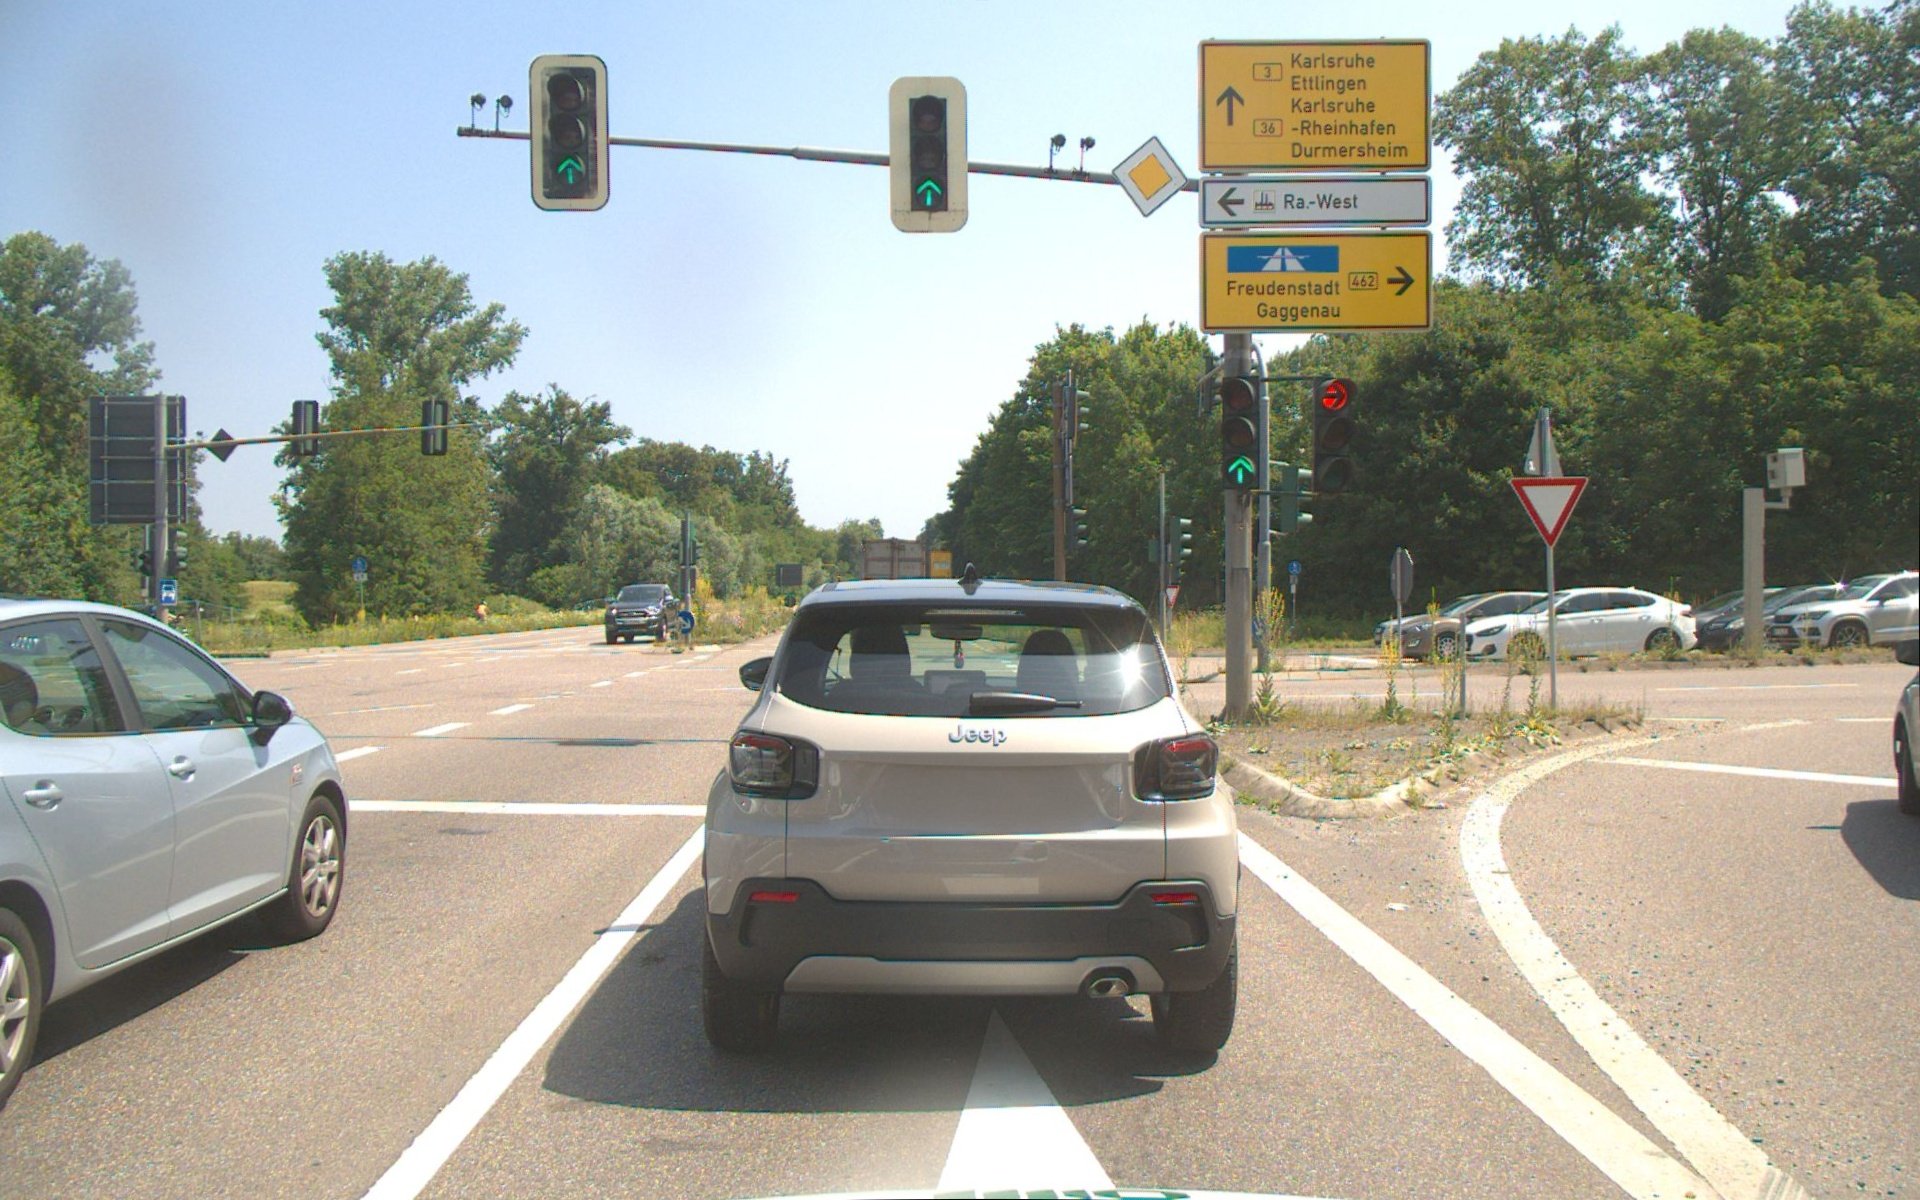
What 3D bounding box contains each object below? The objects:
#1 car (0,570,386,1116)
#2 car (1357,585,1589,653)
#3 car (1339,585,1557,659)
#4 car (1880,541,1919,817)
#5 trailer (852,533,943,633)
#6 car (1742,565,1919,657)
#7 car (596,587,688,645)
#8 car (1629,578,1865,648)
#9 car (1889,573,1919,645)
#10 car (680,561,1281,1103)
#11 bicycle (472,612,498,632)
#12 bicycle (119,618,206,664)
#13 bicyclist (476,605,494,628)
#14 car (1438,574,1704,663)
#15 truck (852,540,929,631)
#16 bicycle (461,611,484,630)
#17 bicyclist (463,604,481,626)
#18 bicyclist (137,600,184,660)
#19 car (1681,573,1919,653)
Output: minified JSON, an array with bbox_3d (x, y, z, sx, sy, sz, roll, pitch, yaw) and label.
[{"bbox_3d":[-3.375,0.627,5.487,1.632,1.455,3.827,1,0,-1],"label":"car"},{"bbox_3d":[12.038,0.442,39.009,4.831,1.525,2.020,-1,-1,-1],"label":"car"},{"bbox_3d":[10.380,0.455,35.367,4.011,1.472,1.994,-1,0,-4],"label":"car"},{"bbox_3d":[6.873,0.519,9.984,1.720,1.804,4.113,-1,0,21],"label":"car"},{"bbox_3d":[-2.909,-0.678,73.040,3.317,4.058,10.790,1,0,-6],"label":"trailer"},{"bbox_3d":[17.652,0.187,32.019,4.088,1.688,1.999,-1,0,-2],"label":"car"},{"bbox_3d":[-10.165,0.474,53.248,1.953,1.707,5.364,-2,0,-1],"label":"car"},{"bbox_3d":[18.390,0.310,38.818,4.523,1.525,2.111,-1,-1,-2],"label":"car"},{"bbox_3d":[23.318,0.138,35.977,5.025,1.560,2.137,-1,-1,-2],"label":"car"},{"bbox_3d":[0.035,0.665,6.787,1.731,1.561,3.999,0,0,-1],"label":"car"},{"bbox_3d":[-25.727,1.170,89.616,0.661,1.022,1.802,-1,0,8],"label":"bicycle"},{"bbox_3d":[-20.063,1.027,41.626,0.709,1.082,1.863,-1,0,35],"label":"bicycle"},{"bbox_3d":[-25.747,0.882,89.623,0.741,1.216,0.592,-1,0,9],"label":"bicyclist"},{"bbox_3d":[11.588,0.340,31.553,4.331,1.562,1.999,-1,0,-3],"label":"car"},{"bbox_3d":[-3.374,-0.647,78.533,3.268,4.058,6.526,1,0,-5],"label":"truck"},{"bbox_3d":[-27.047,1.112,91.855,0.591,1.023,1.557,-1,0,9],"label":"bicycle"},{"bbox_3d":[-27.082,0.844,91.773,0.719,1.216,0.592,-1,0,9],"label":"bicyclist"},{"bbox_3d":[-20.117,0.745,41.593,0.908,1.485,0.713,-1,0,36],"label":"bicyclist"},{"bbox_3d":[17.938,0.275,35.095,4.330,1.562,2.121,-1,-1,-2],"label":"car"}]
